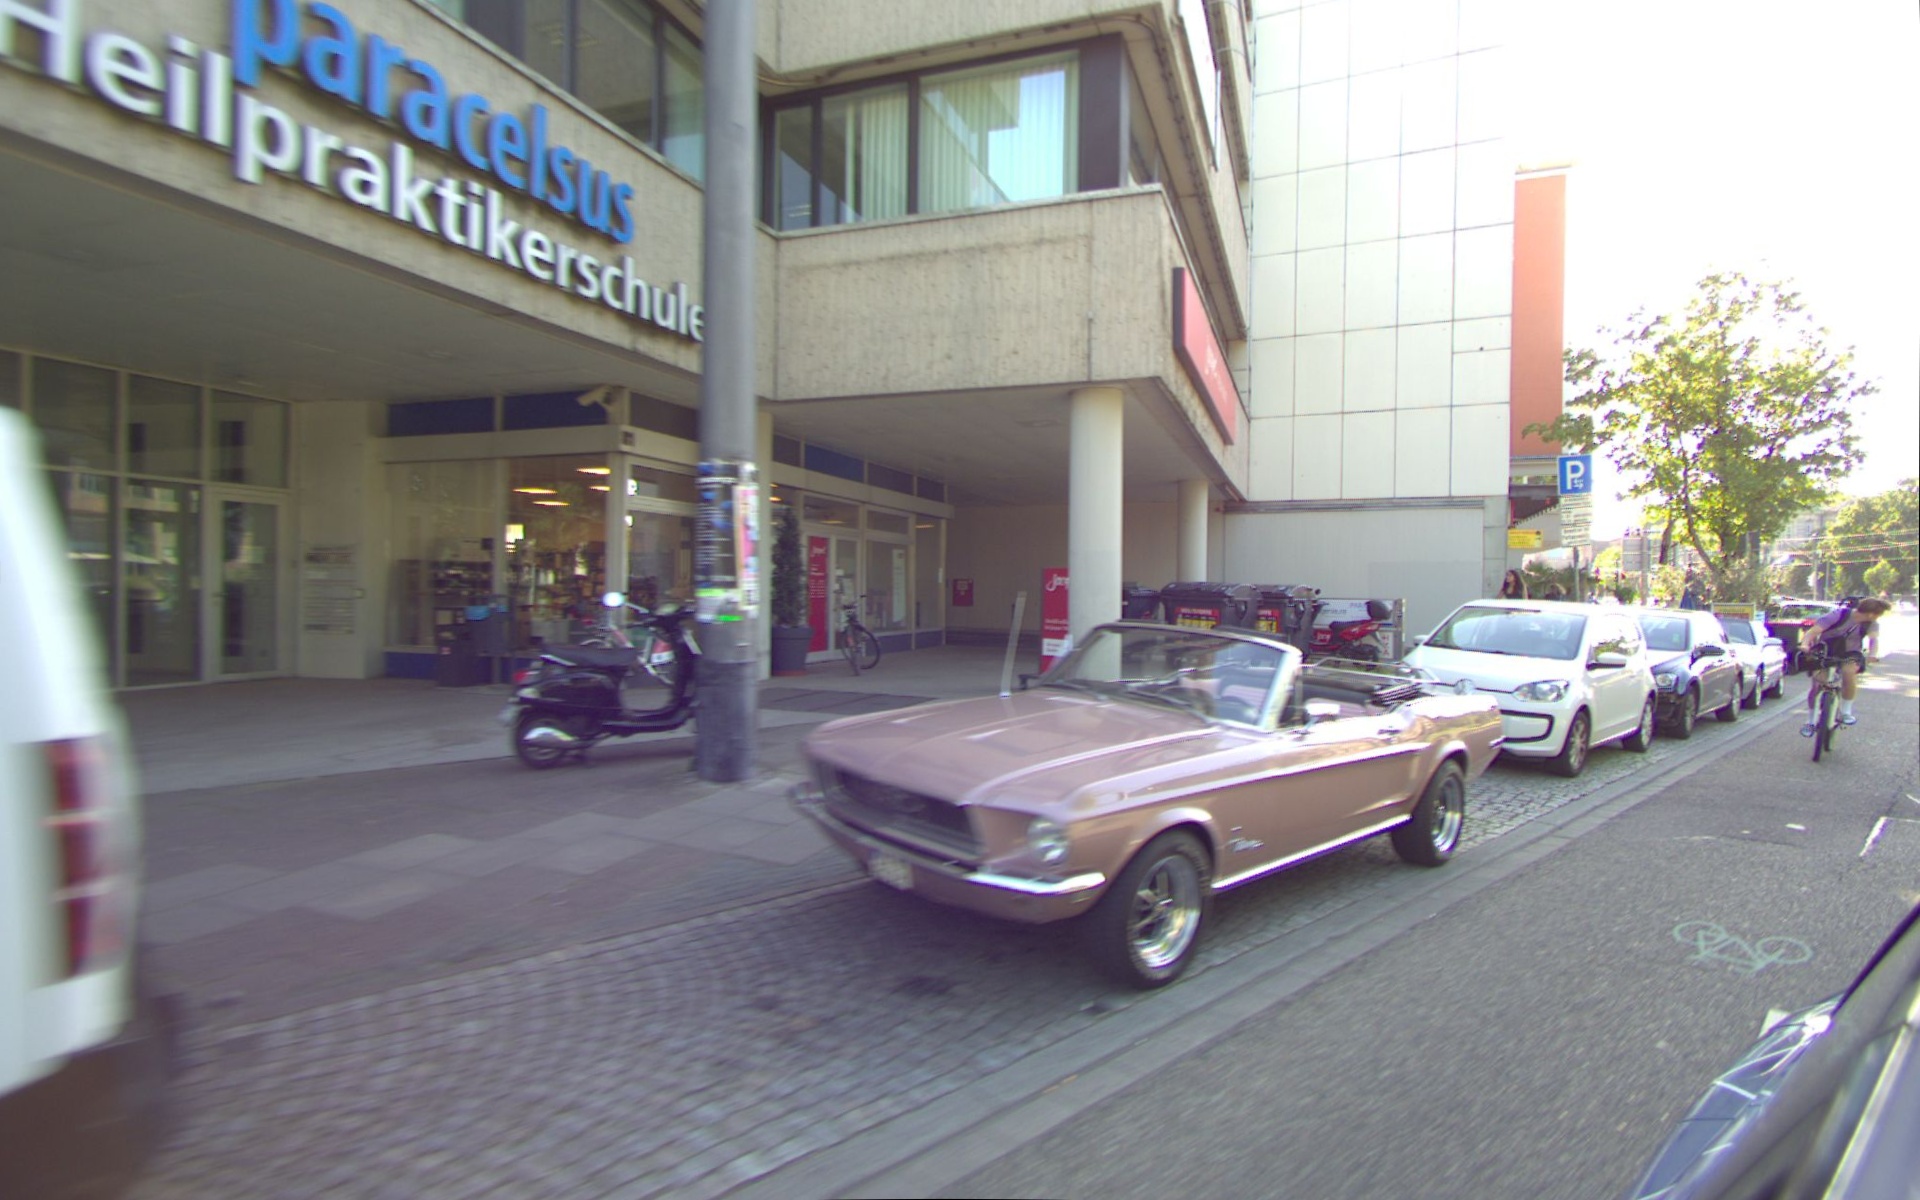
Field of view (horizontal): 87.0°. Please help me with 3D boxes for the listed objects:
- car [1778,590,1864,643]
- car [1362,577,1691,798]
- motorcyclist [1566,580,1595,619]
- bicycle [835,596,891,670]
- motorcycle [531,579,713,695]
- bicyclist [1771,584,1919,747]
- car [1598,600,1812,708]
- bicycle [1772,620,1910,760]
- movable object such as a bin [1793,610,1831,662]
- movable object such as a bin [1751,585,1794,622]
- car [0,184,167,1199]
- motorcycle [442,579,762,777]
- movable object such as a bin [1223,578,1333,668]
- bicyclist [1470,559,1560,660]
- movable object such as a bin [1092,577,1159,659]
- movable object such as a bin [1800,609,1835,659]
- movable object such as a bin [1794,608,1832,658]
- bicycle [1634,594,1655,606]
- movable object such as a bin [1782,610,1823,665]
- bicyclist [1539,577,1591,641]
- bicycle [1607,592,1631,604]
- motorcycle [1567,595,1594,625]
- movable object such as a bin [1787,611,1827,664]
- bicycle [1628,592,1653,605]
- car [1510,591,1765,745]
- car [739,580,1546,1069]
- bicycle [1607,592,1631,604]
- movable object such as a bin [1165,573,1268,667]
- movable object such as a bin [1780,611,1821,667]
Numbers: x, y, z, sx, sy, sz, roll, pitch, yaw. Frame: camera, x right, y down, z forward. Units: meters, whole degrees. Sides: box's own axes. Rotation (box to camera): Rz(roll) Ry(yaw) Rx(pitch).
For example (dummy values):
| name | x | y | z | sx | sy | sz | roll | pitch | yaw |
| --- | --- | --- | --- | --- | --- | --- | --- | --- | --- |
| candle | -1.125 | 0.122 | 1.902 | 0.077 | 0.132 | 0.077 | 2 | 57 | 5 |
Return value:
| name | x | y | z | sx | sy | sz | roll | pitch | yaw |
| --- | --- | --- | --- | --- | --- | --- | --- | --- | --- |
| car | 26.192 | 0.449 | 30.735 | 1.765 | 1.456 | 4.511 | 2 | 1 | 43 |
| car | 5.733 | 0.670 | 10.044 | 3.805 | 1.710 | 1.852 | -2 | 1 | -45 |
| motorcyclist | 25.380 | -0.027 | 41.386 | 0.895 | 1.570 | 0.796 | -1 | 0 | 37 |
| bicycle | -1.427 | 0.445 | 14.600 | 0.667 | 0.993 | 1.860 | 0 | 0 | -10 |
| motorcycle | -3.745 | 0.385 | 11.404 | 0.509 | 1.183 | 2.075 | -1 | -1 | 34 |
| bicyclist | 8.896 | 0.614 | 10.171 | 0.972 | 1.502 | 1.038 | -2 | 0 | -45 |
| car | 11.908 | 0.748 | 16.056 | 4.521 | 1.361 | 1.853 | -2 | 1 | -42 |
| bicycle | 8.869 | 0.827 | 10.151 | 0.886 | 1.150 | 2.193 | -1 | 1 | 45 |
| movable object such as a bin | 18.470 | 0.765 | 21.935 | 0.605 | 1.082 | 0.604 | -1 | 0 | 42 |
| movable object such as a bin | 31.990 | 0.125 | 39.847 | 1.278 | 1.409 | 0.909 | -1 | 0 | 40 |
| car | -3.546 | 0.333 | 0.928 | 4.240 | 1.835 | 1.994 | -2 | 1 | -45 |
| motorcycle | -2.497 | 0.470 | 7.177 | 2.009 | 1.169 | 0.767 | -2 | 4 | -34 |
| movable object such as a bin | 5.324 | 0.365 | 16.966 | 1.100 | 1.415 | 1.340 | -2 | 0 | -36 |
| bicyclist | 9.510 | 0.154 | 17.373 | 0.916 | 1.654 | 0.944 | -2 | 0 | -12 |
| movable object such as a bin | 2.952 | 0.312 | 18.080 | 0.836 | 1.401 | 0.795 | -2 | 0 | -36 |
| movable object such as a bin | 19.730 | 0.777 | 23.287 | 0.573 | 1.096 | 0.562 | -1 | 0 | 43 |
| movable object such as a bin | 18.882 | 0.720 | 22.403 | 0.590 | 1.082 | 0.488 | -1 | 0 | 43 |
| bicycle | 59.105 | -0.026 | 87.381 | 1.418 | 1.024 | 0.407 | 2 | 1 | 24 |
| movable object such as a bin | 17.596 | 0.777 | 21.135 | 0.610 | 1.119 | 0.518 | -1 | 0 | 43 |
| bicyclist | 13.034 | 0.189 | 21.805 | 0.757 | 1.343 | 0.979 | -1 | 0 | 42 |
| bicycle | 62.301 | -0.171 | 95.685 | 1.800 | 1.073 | 0.413 | 1 | 1 | 19 |
| motorcycle | 25.412 | 0.408 | 41.435 | 0.773 | 1.140 | 2.268 | -1 | 1 | 36 |
| movable object such as a bin | 18.004 | 0.792 | 21.517 | 0.604 | 1.082 | 0.537 | -1 | 0 | 43 |
| bicycle | 59.818 | -0.171 | 89.008 | 1.735 | 1.090 | 0.403 | -1 | 0 | 20 |
| car | 8.592 | 0.711 | 12.695 | 4.128 | 1.537 | 1.673 | -2 | 1 | -42 |
| car | 1.335 | 0.685 | 5.422 | 4.651 | 1.472 | 1.776 | -2 | 1 | -42 |
| bicycle | 62.585 | -0.181 | 96.140 | 1.799 | 1.073 | 0.413 | 1 | 1 | 18 |
| movable object such as a bin | 4.178 | 0.307 | 16.555 | 0.941 | 1.451 | 1.304 | -2 | 0 | -36 |
| movable object such as a bin | 17.195 | 0.796 | 20.709 | 0.592 | 1.097 | 0.595 | -1 | 0 | 43 |
